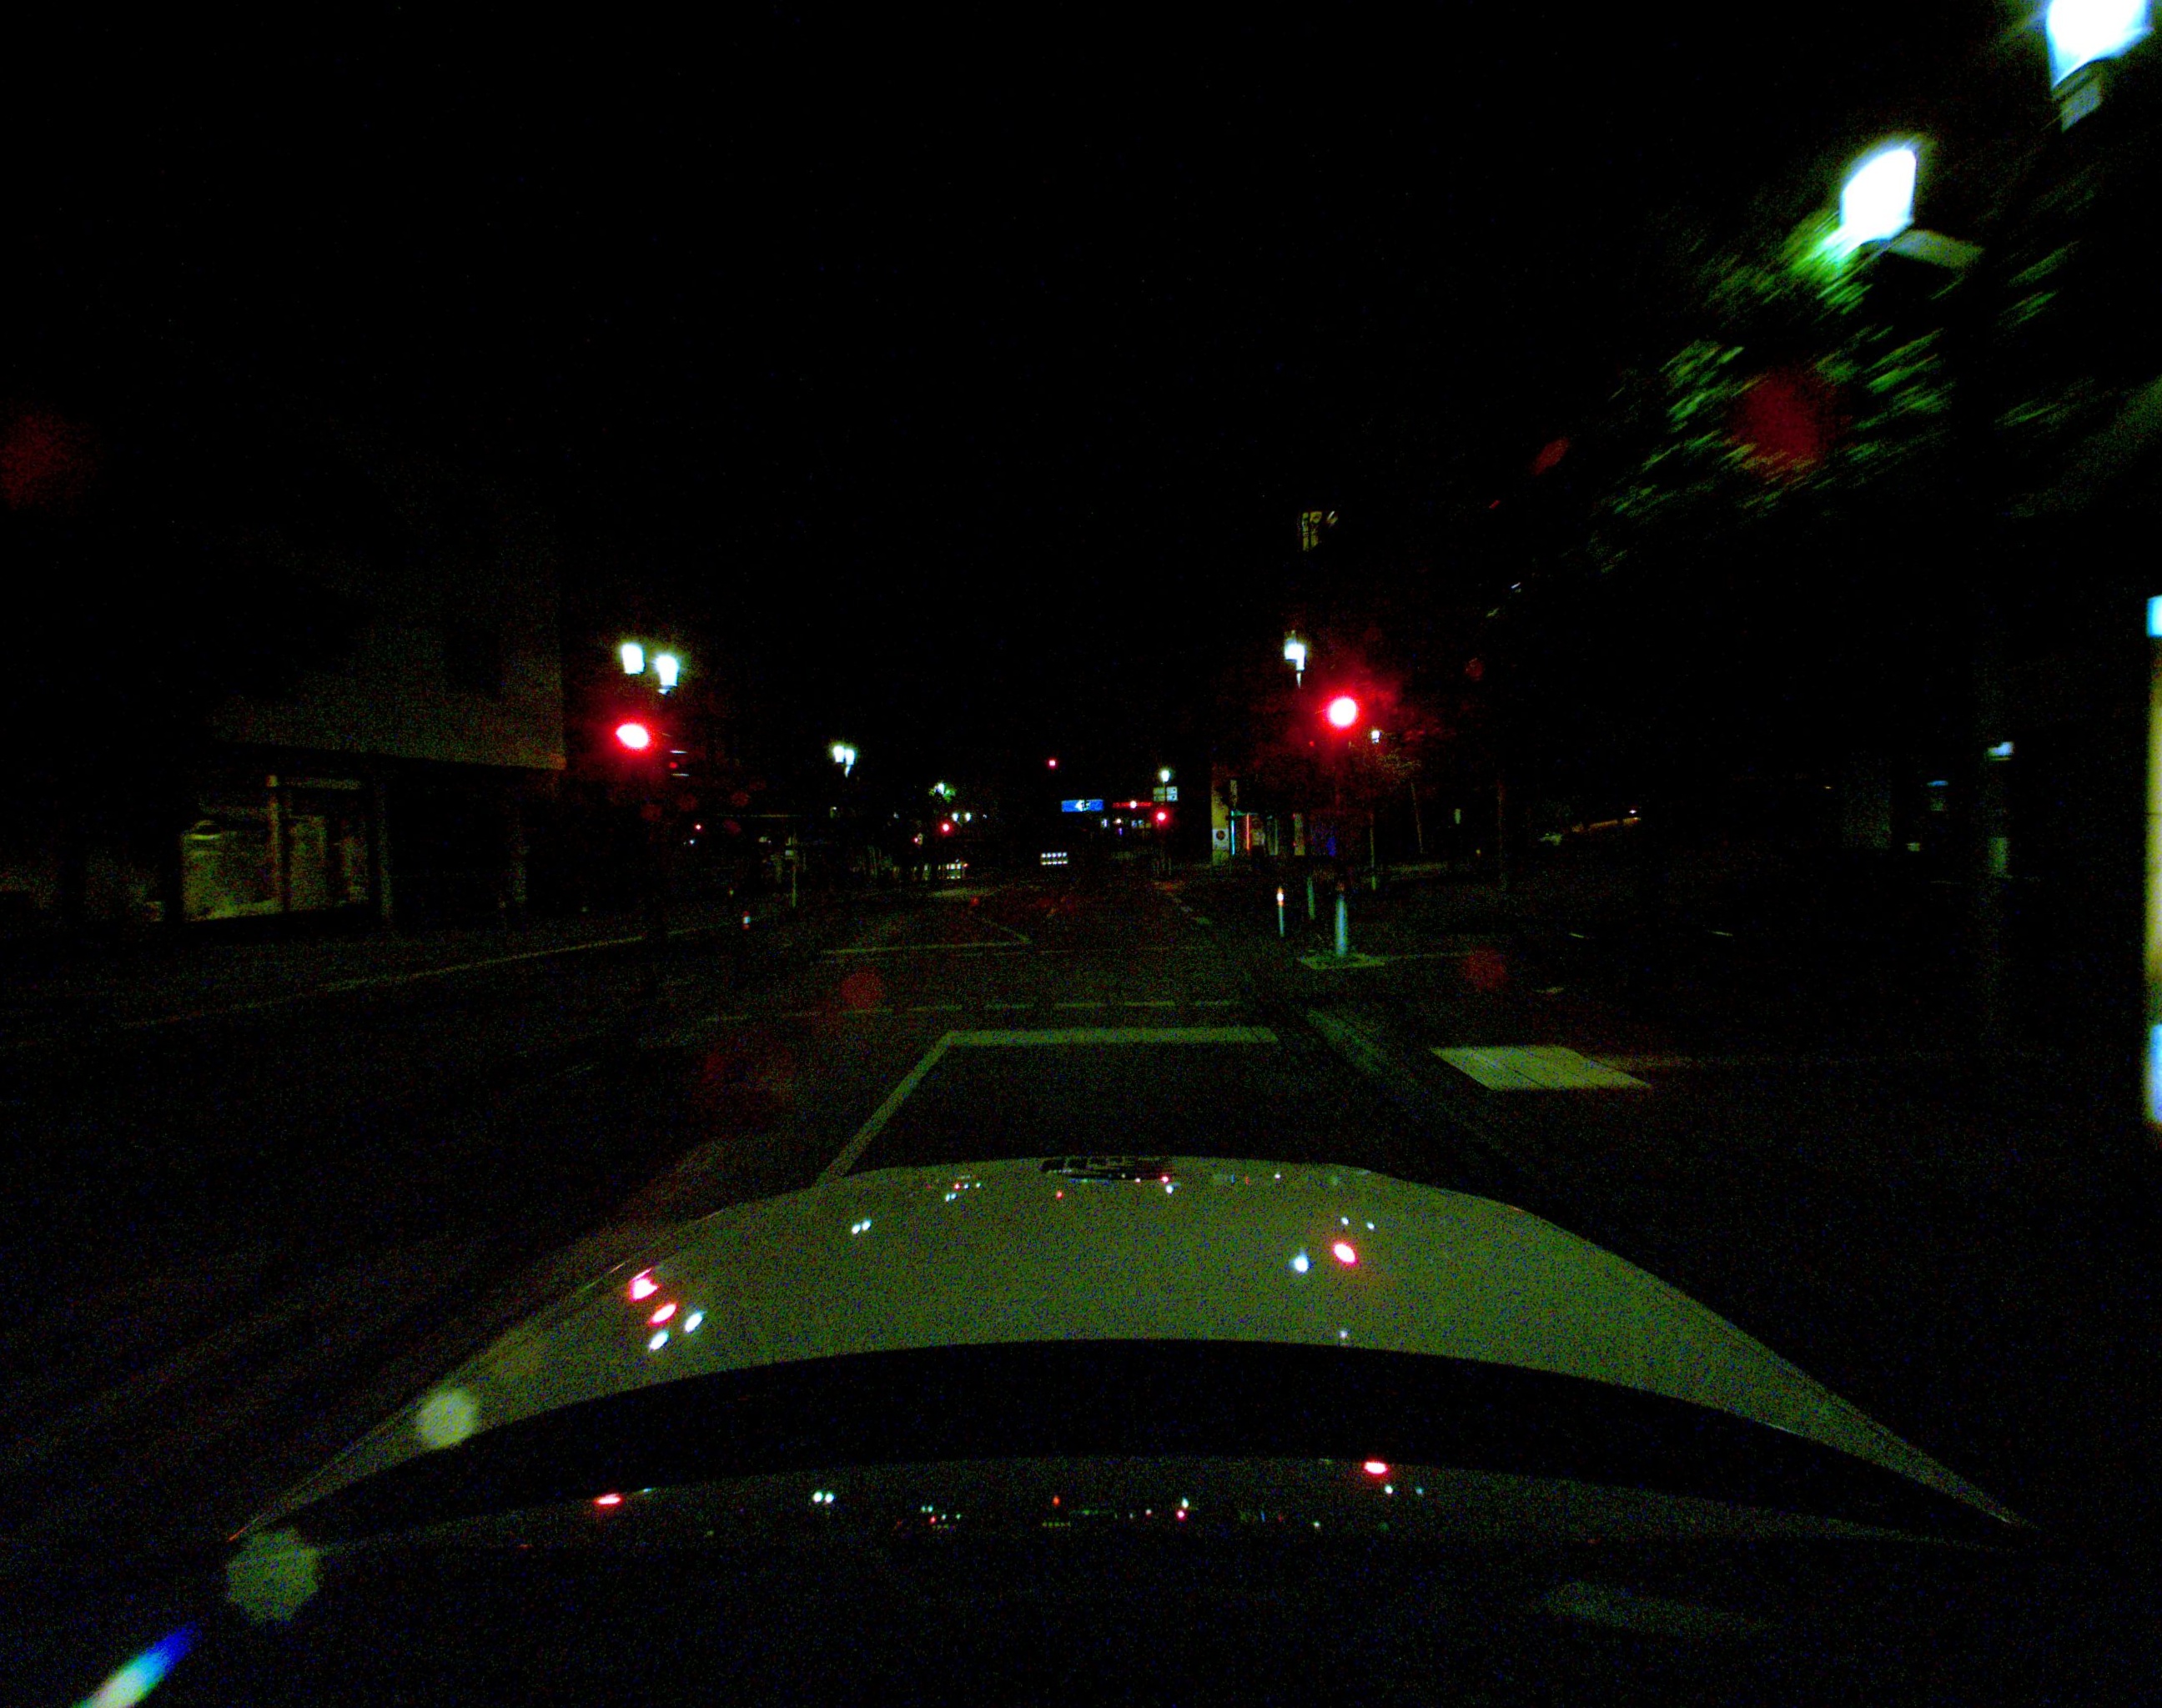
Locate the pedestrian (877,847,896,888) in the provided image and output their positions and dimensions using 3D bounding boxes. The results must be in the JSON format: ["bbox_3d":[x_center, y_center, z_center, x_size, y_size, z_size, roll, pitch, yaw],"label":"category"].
[{"bbox_3d":[-8.605,0.604,36.097,0.714,1.795,0.568,0,-2,-4],"label":"pedestrian"}]

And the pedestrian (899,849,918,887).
[{"bbox_3d":[-8.261,0.656,39.003,0.712,1.795,0.571,-1,-2,8],"label":"pedestrian"}]

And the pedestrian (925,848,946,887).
[{"bbox_3d":[-6.750,0.630,37.843,0.740,1.795,0.710,0,-2,-35],"label":"pedestrian"}]

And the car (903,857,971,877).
[{"bbox_3d":[-9.936,0.923,56.249,4.406,1.297,1.640,-1,-1,-2],"label":"car"}]

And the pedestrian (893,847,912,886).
[{"bbox_3d":[-8.323,0.583,37.951,0.712,1.795,0.571,-1,-2,8],"label":"pedestrian"}]

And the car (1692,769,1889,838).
[{"bbox_3d":[23.498,-1.597,27.284,4.783,1.910,2.172,-2,-2,37],"label":"car"}]

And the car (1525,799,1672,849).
[{"bbox_3d":[18.619,-1.067,29.472,4.019,1.452,1.830,-4,1,8],"label":"car"}]

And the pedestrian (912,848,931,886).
[{"bbox_3d":[-7.503,0.608,38.291,0.712,1.795,0.571,-1,-2,8],"label":"pedestrian"}]
